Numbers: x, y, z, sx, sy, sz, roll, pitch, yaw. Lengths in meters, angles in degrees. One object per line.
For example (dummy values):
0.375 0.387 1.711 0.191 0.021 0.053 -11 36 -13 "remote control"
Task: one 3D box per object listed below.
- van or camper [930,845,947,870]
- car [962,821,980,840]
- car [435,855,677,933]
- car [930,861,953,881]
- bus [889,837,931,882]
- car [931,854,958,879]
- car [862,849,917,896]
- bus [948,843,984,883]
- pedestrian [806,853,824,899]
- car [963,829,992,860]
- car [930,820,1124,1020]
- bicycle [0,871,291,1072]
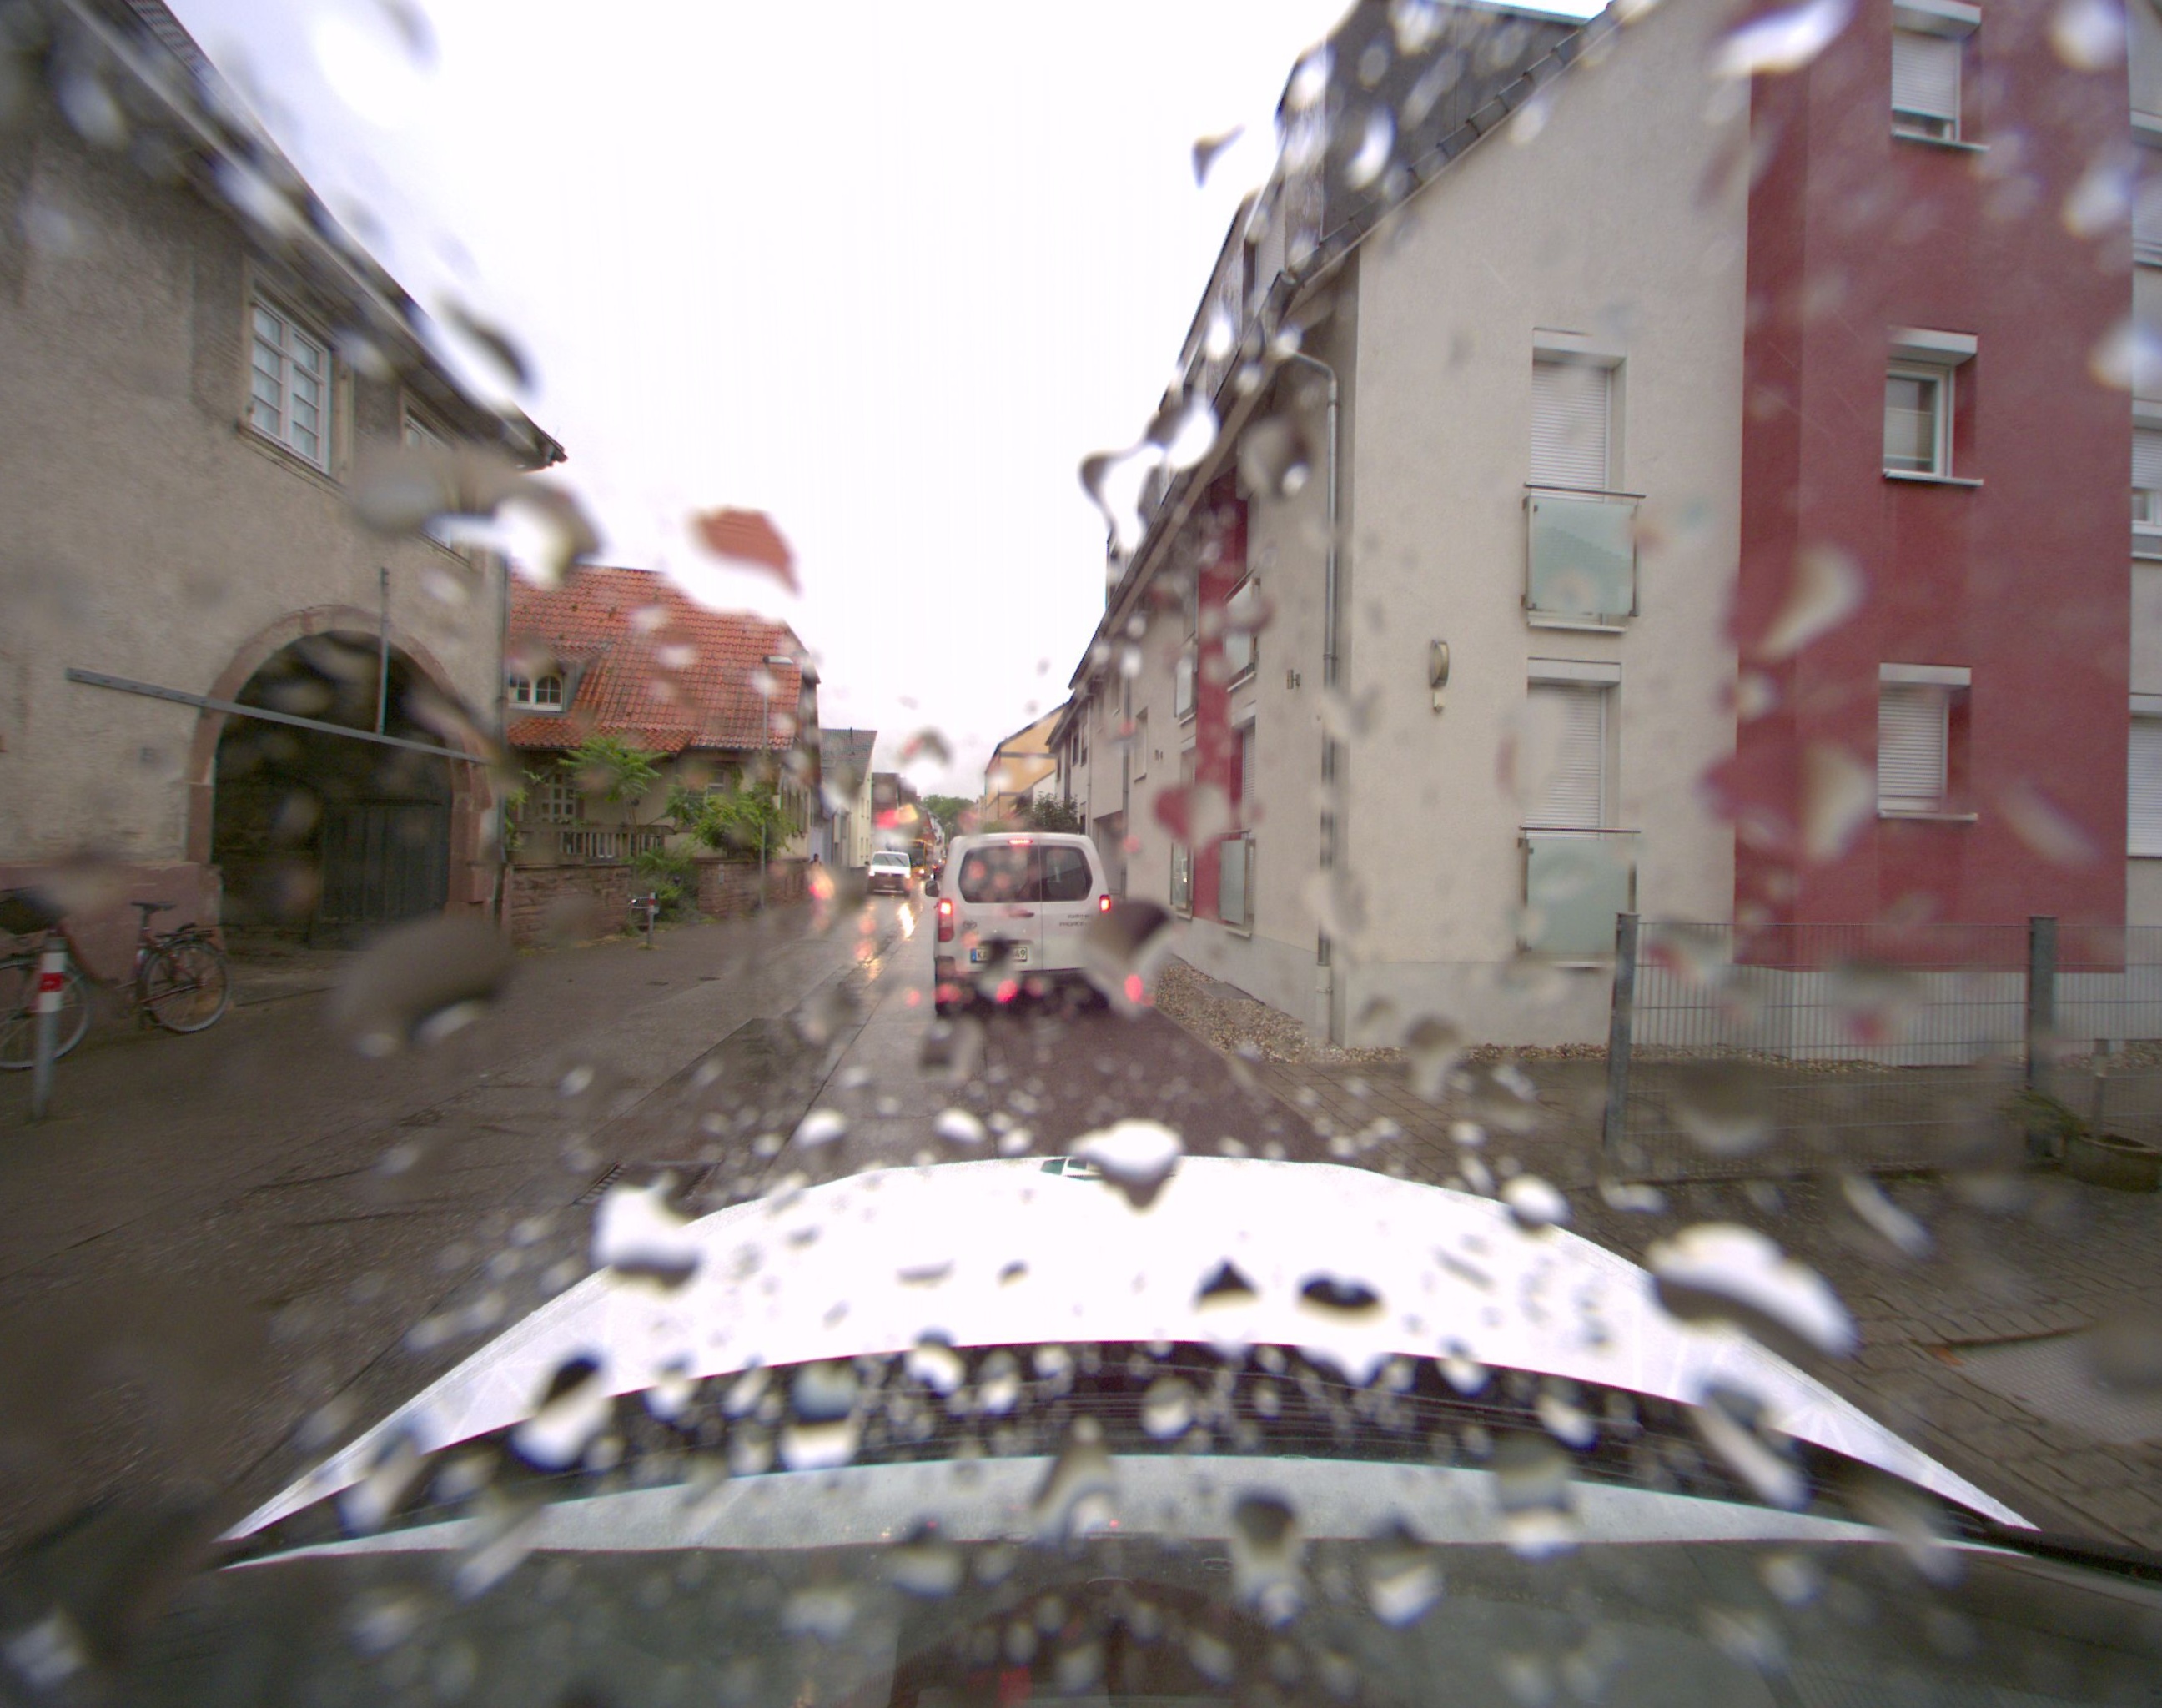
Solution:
-17.950 0.458 102.702 1.834 2.926 5.348 2 -1 -7 "van or camper"
-12.907 -2.753 95.334 1.992 2.014 3.989 2 -1 -8 "car"
-9.962 0.740 15.689 3.524 1.376 1.590 1 -1 -7 "car"
-10.411 1.259 61.086 1.561 1.372 3.574 2 -1 -8 "car"
-13.697 0.479 65.802 2.792 3.329 8.151 3 -1 -9 "bus"
-8.491 0.794 50.889 1.561 1.480 3.574 2 -1 -9 "car"
-8.684 0.838 37.300 1.891 1.967 4.711 2 -1 -7 "car"
-10.132 0.826 71.221 2.792 3.180 8.151 3 -1 -9 "bus"
-8.996 0.729 27.581 0.569 1.530 0.565 0 -1 -19 "pedestrian"
-7.196 -0.612 56.547 1.827 2.014 3.682 2 -1 -9 "car"
-0.810 0.626 9.601 1.794 1.819 4.088 -1 -1 -9 "car"
-6.667 0.725 5.762 0.482 1.180 1.830 2 -1 -7 "bicycle"
